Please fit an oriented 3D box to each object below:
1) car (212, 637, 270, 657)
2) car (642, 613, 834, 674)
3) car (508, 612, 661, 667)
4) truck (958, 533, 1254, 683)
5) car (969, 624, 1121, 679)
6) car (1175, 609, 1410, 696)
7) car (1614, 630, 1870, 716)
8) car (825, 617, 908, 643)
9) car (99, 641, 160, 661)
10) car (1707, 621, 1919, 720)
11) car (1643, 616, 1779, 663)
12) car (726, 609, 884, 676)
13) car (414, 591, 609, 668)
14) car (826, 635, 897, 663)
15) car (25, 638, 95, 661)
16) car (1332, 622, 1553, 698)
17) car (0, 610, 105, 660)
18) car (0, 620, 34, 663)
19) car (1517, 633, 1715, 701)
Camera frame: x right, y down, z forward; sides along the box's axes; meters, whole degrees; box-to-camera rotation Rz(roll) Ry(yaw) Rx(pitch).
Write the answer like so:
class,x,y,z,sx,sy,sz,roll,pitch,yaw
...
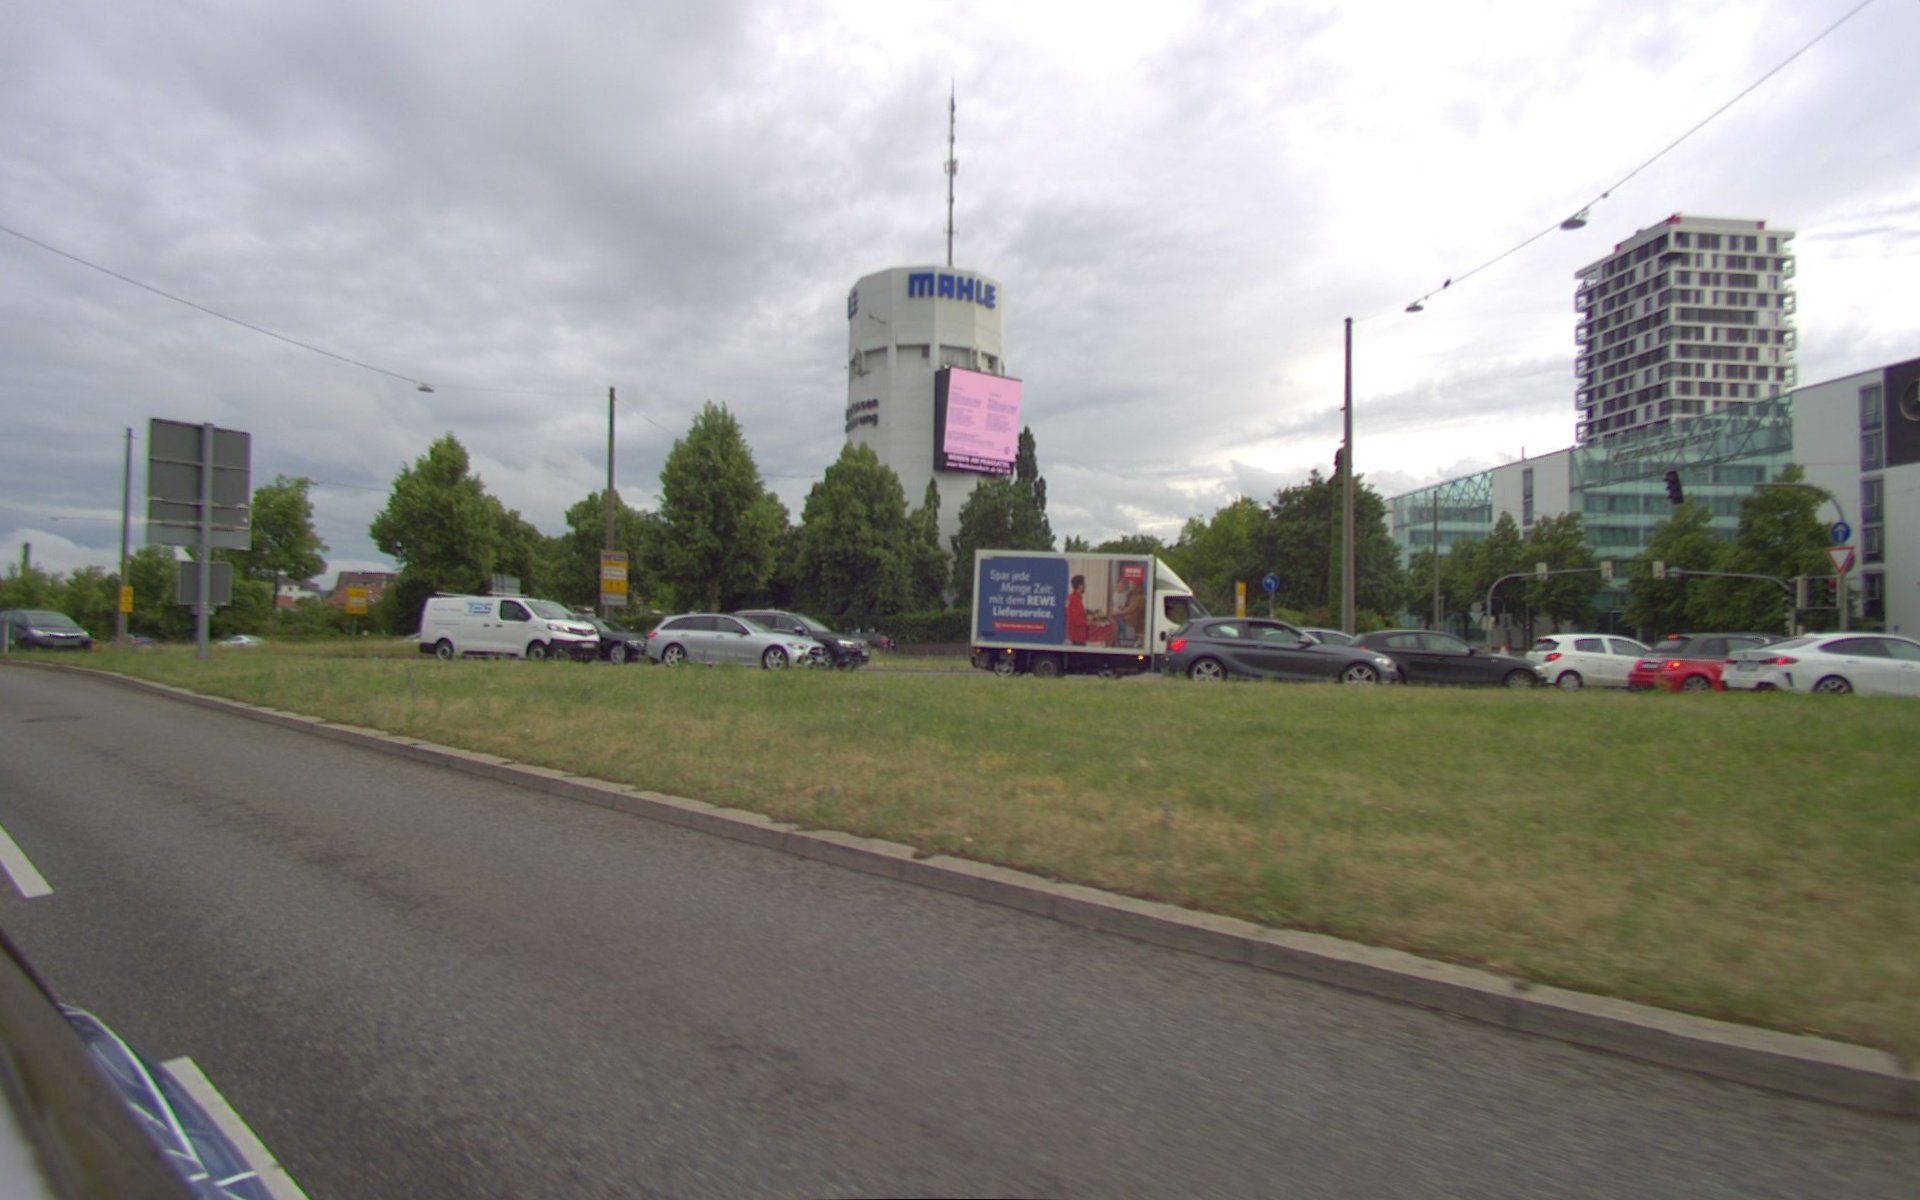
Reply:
class,x,y,z,sx,sy,sz,roll,pitch,yaw
car,-52.820,3.442,74.329,3.954,1.402,1.654,-2,-3,23
car,-5.627,1.118,25.745,4.484,1.446,1.833,-1,-4,19
car,-11.327,1.203,30.652,3.962,1.576,1.901,0,-3,15
truck,3.366,0.243,23.804,6.477,3.244,2.666,-1,-1,10
car,2.296,1.344,27.001,3.828,1.383,1.752,-1,-2,13
car,6.110,0.996,19.059,3.934,1.472,1.868,-2,-3,11
car,16.611,1.519,21.681,3.949,1.636,1.816,1,-2,5
car,-8.178,2.588,88.105,6.952,2.147,2.373,-1,-1,23
car,-61.492,3.787,74.951,3.956,1.453,1.868,-2,-3,23
car,16.306,1.228,18.097,4.337,1.656,1.922,0,-2,6
car,27.672,1.445,37.362,1.720,1.630,3.745,0,-2,-42
car,-4.386,1.207,28.760,4.039,1.694,1.833,-2,0,19
car,-12.469,0.839,28.130,5.055,1.988,1.897,-1,-3,21
car,-5.662,2.786,58.128,3.708,1.586,1.722,-1,-2,21
car,-62.975,3.455,70.839,3.967,1.543,1.903,-1,-2,18
car,10.504,1.277,22.332,3.956,1.578,1.993,0,-2,10
car,-30.737,1.136,33.780,4.018,1.577,1.787,-1,0,24
car,-44.445,1.925,46.132,3.979,1.875,1.982,-3,-3,26
car,15.961,1.606,24.779,3.727,1.491,1.580,1,-2,5
